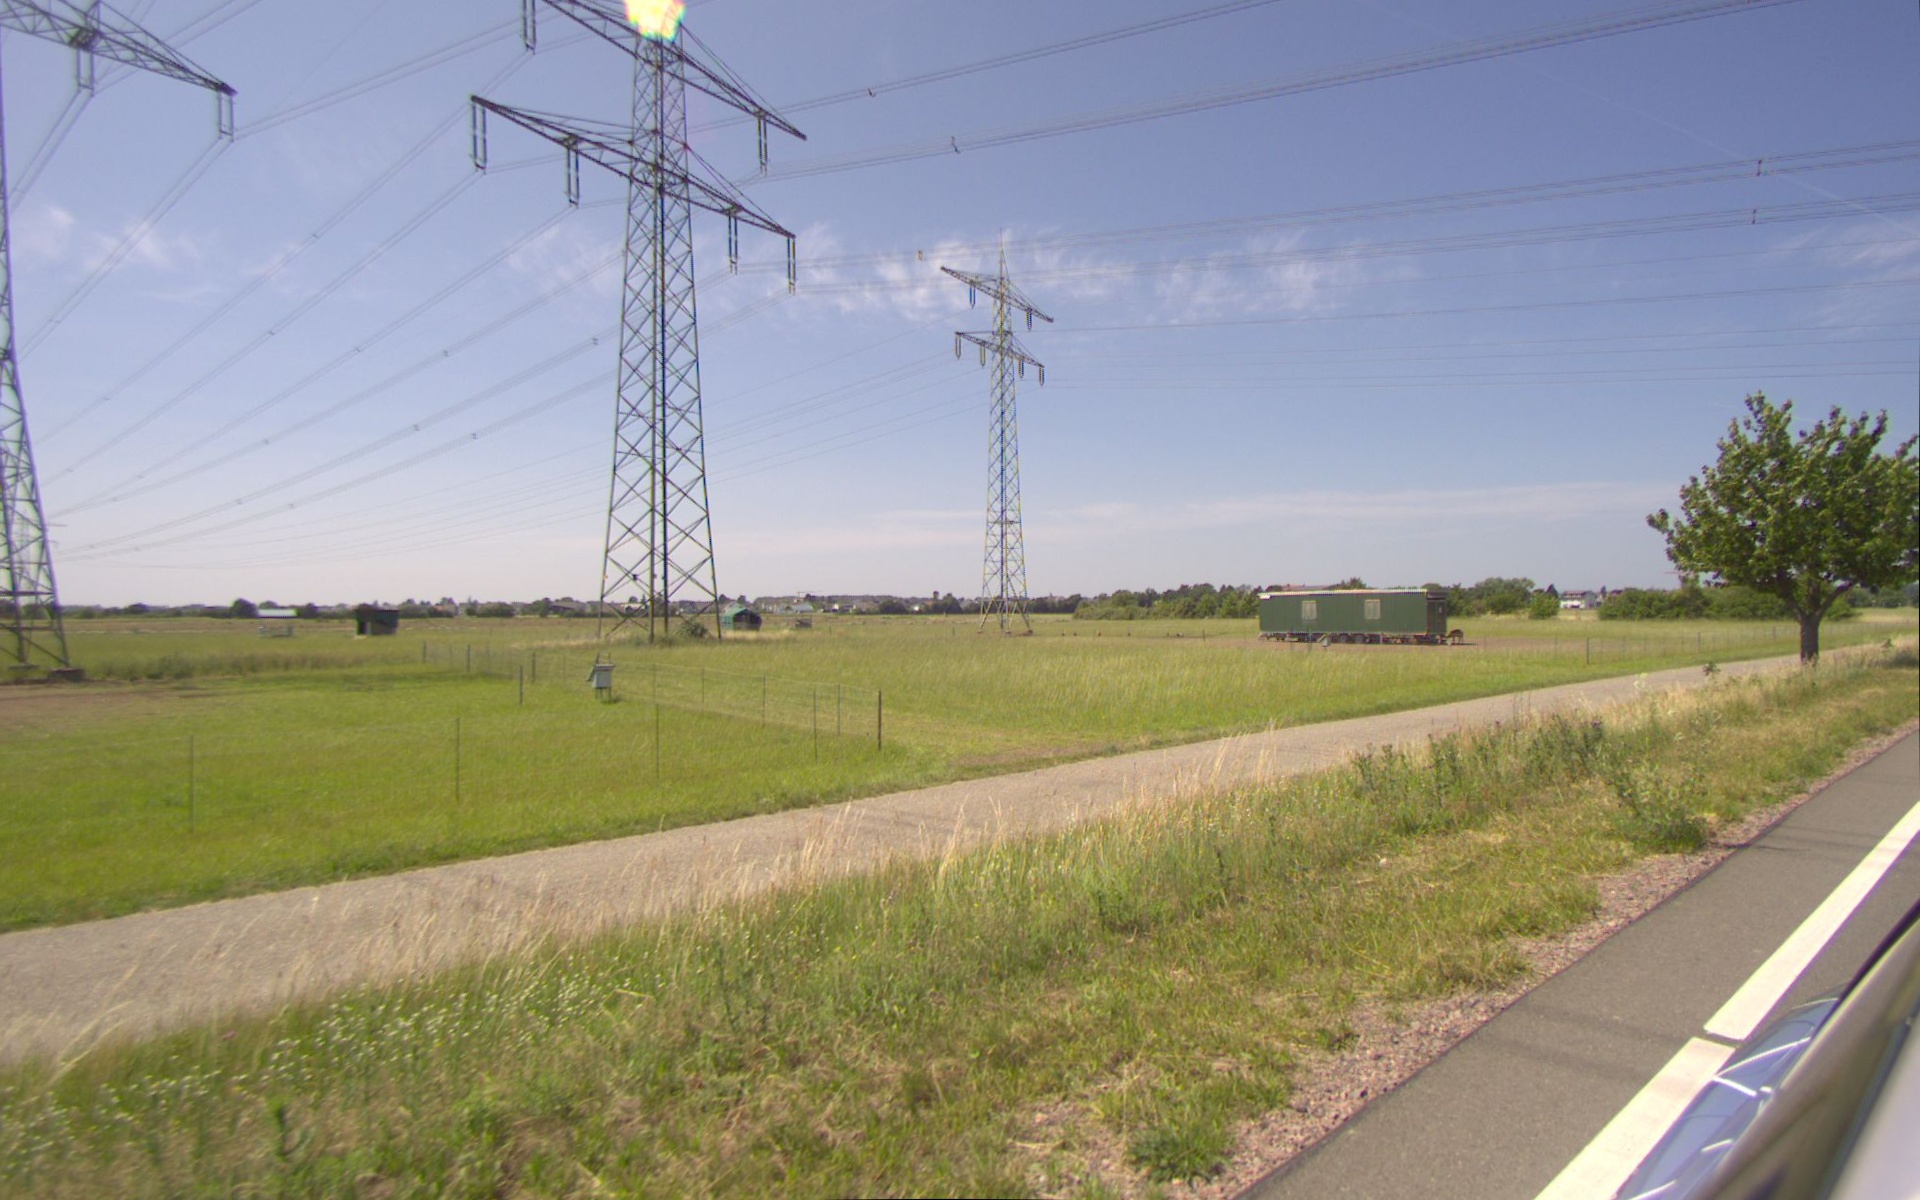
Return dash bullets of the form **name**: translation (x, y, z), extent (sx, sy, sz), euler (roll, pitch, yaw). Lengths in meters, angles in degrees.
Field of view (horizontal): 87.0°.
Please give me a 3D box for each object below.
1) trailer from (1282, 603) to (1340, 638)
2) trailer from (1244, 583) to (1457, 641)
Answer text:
- **trailer**: translation (25.277, 1.461, 72.887), extent (2.001, 2.494, 3.414), euler (0, -1, -40)
- **trailer**: translation (25.775, 0.789, 67.922), extent (3.218, 3.519, 13.535), euler (0, -1, -39)
